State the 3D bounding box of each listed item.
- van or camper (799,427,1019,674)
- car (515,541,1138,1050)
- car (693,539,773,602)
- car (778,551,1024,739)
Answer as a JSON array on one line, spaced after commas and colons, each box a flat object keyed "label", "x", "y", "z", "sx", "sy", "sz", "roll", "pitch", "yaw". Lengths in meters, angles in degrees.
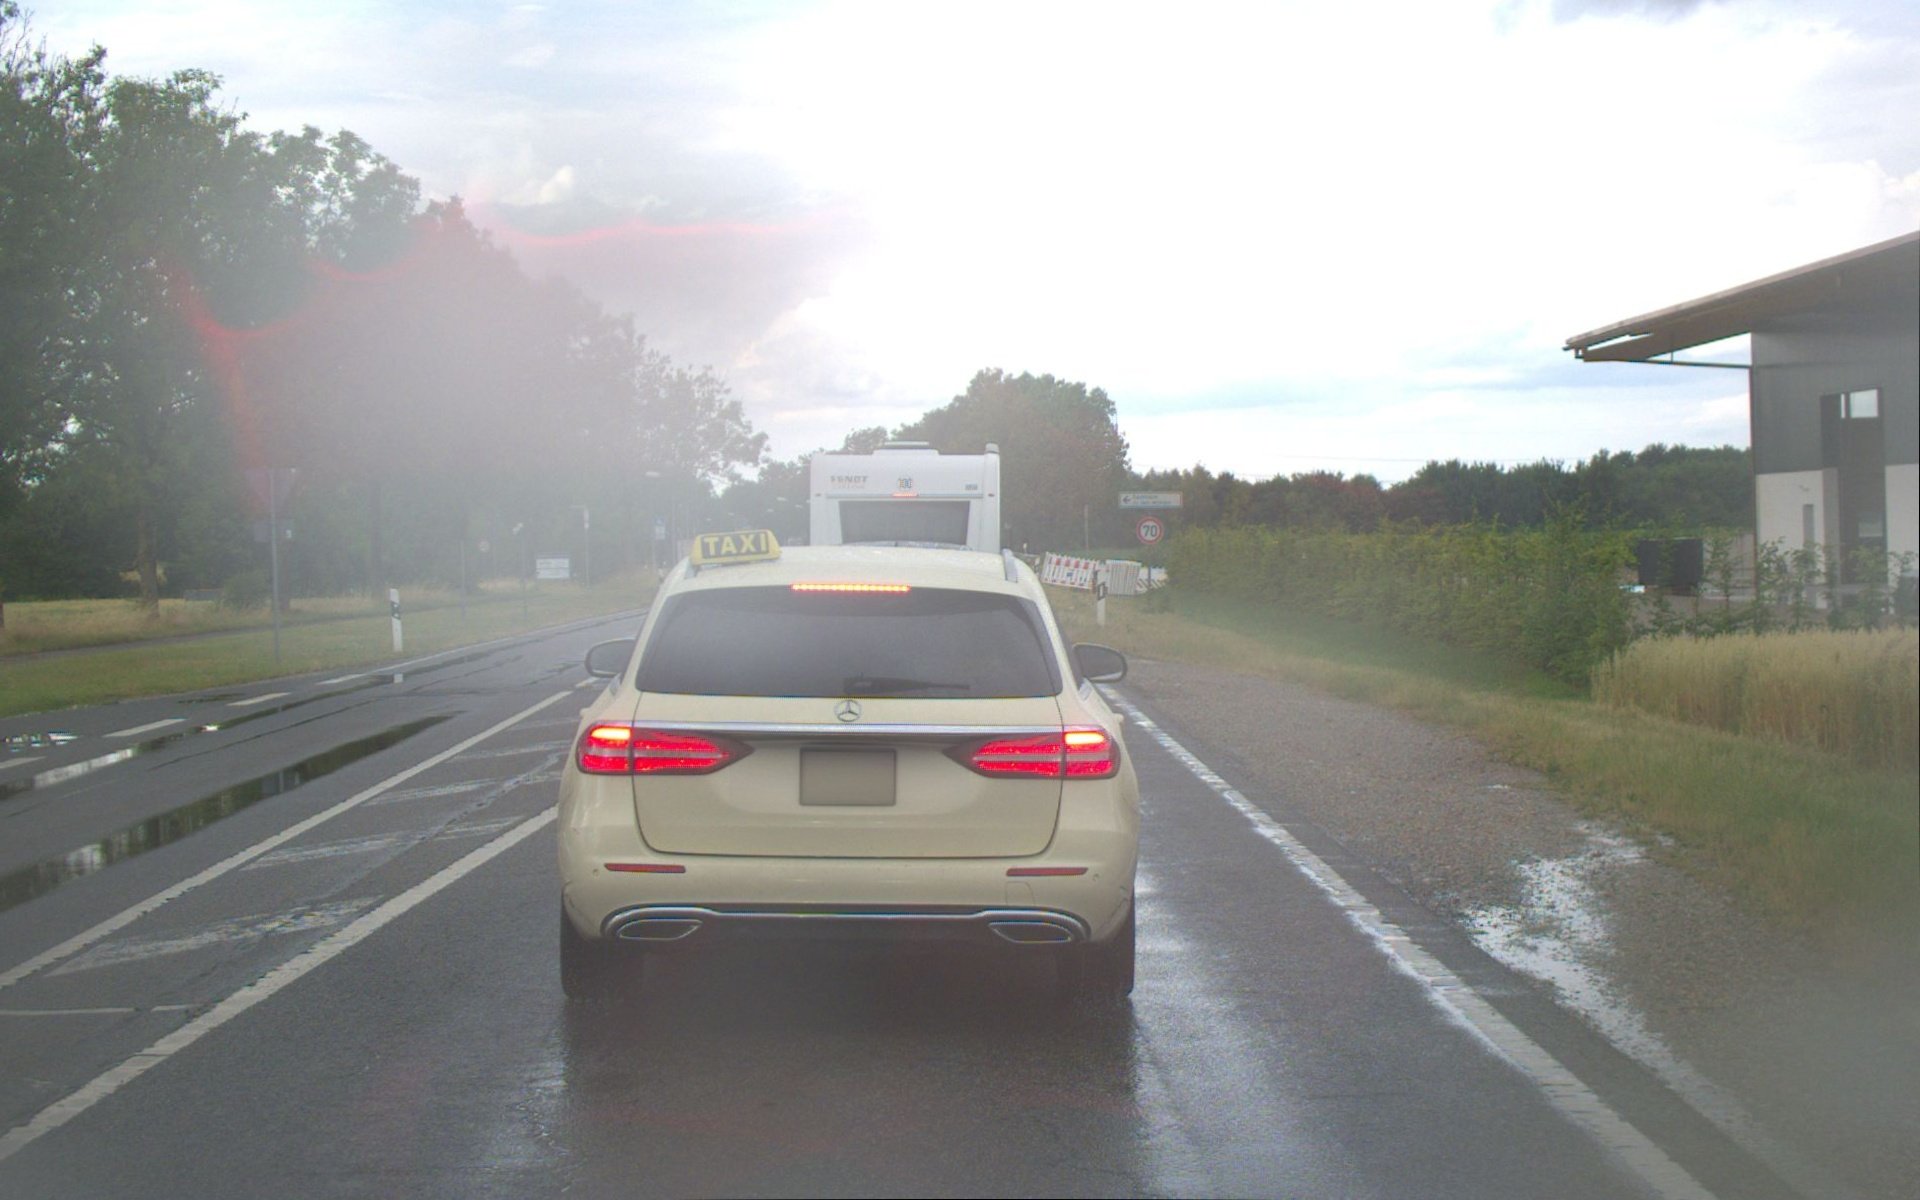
[{"label": "van or camper", "x": -0.589, "y": -0.631, "z": 43.402, "sx": 2.497, "sy": 2.821, "sz": 5.934, "roll": -2, "pitch": 1, "yaw": 0}, {"label": "car", "x": -0.394, "y": 0.531, "z": 11.942, "sx": 1.797, "sy": 1.459, "sz": 4.031, "roll": 0, "pitch": 1, "yaw": 0}, {"label": "car", "x": -6.235, "y": -0.826, "z": 94.686, "sx": 1.916, "sy": 1.626, "sz": 4.357, "roll": -2, "pitch": 1, "yaw": -1}, {"label": "car", "x": -0.494, "y": 0.319, "z": 28.485, "sx": 1.894, "sy": 1.424, "sz": 3.928, "roll": 0, "pitch": 1, "yaw": -1}]
